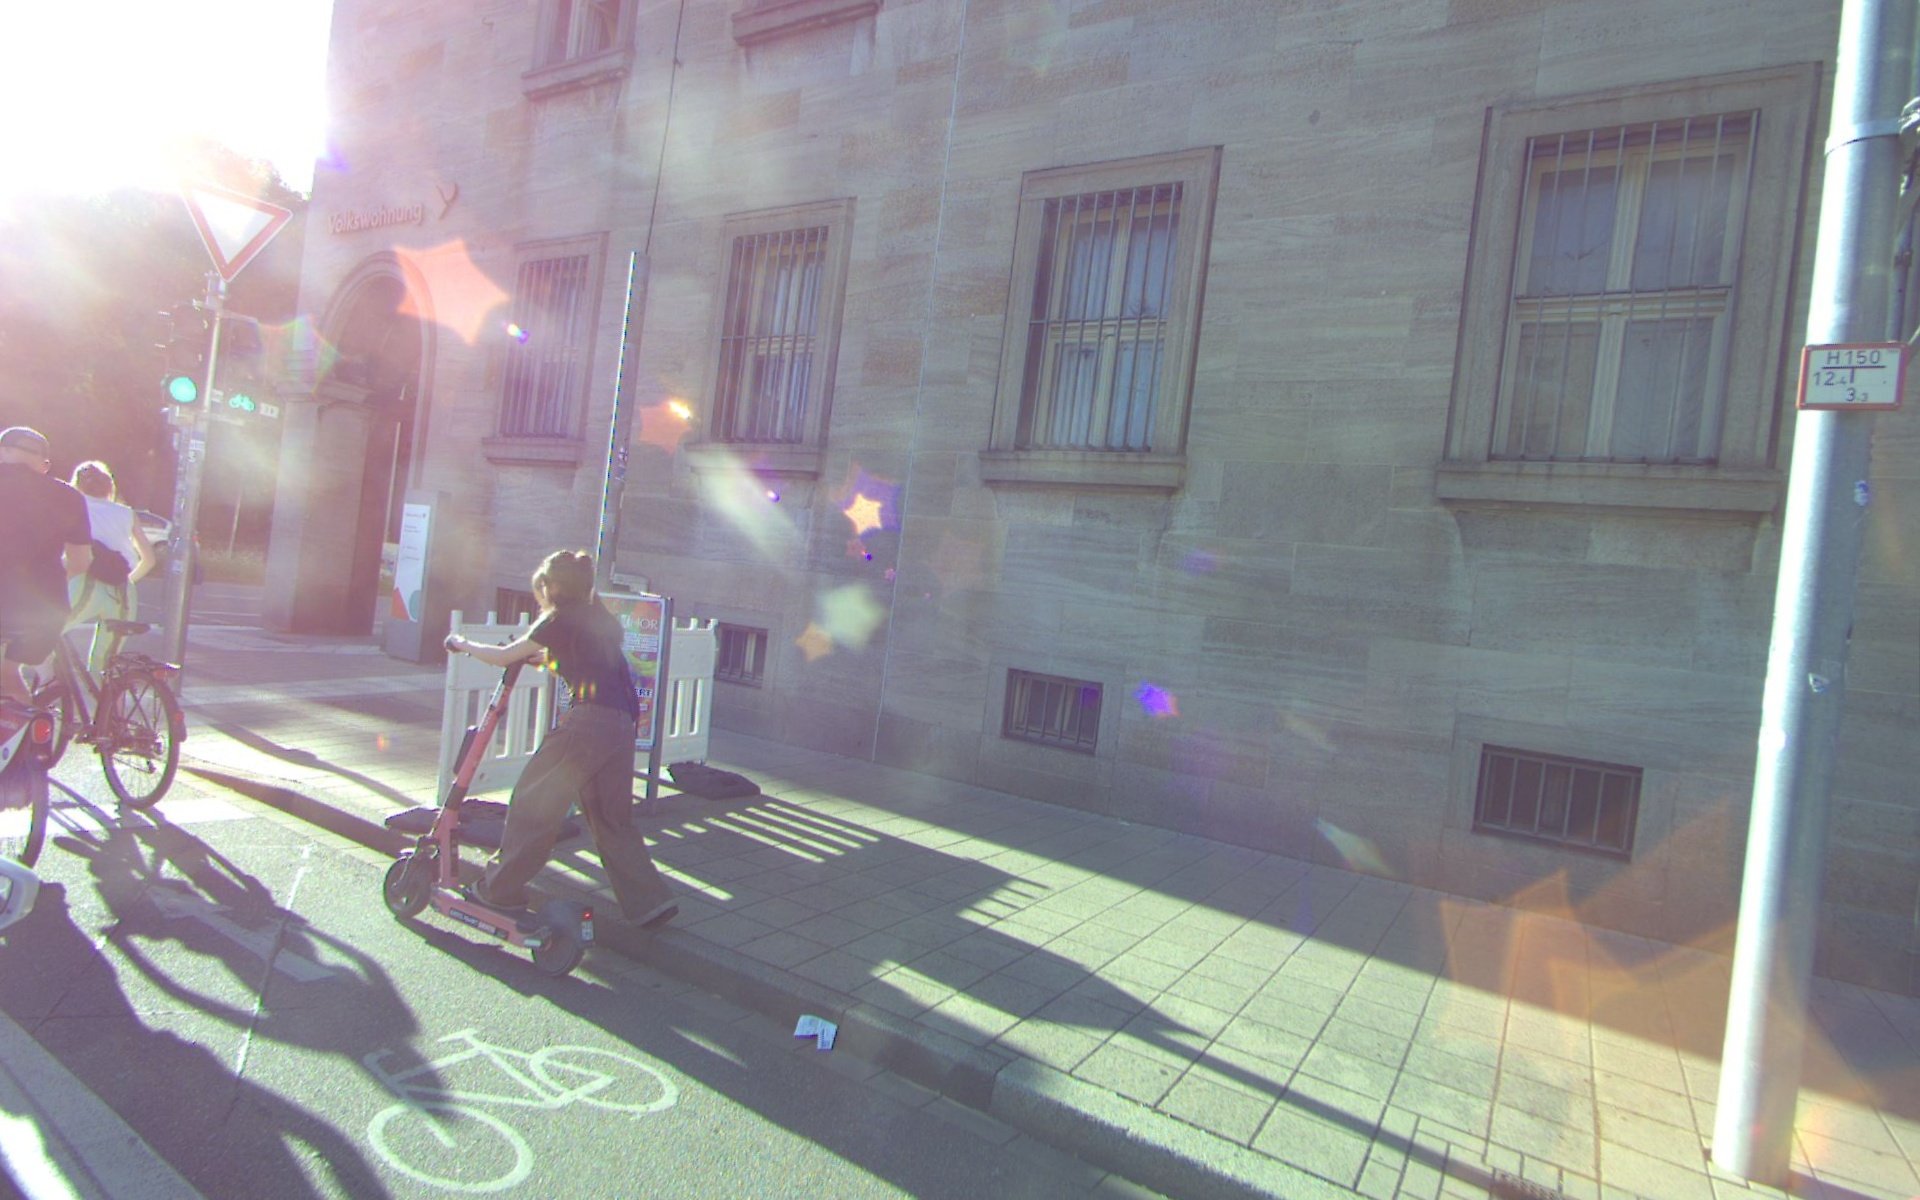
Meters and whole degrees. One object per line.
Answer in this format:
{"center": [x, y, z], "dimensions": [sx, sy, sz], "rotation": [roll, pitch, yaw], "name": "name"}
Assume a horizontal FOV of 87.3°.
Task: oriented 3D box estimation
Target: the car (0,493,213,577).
{"center": [-23.486, -1.747, 27.349], "dimensions": [1.967, 1.533, 4.586], "rotation": [6, -2, 32], "name": "car"}

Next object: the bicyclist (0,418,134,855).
{"center": [-4.156, 0.117, 4.258], "dimensions": [0.897, 1.736, 0.624], "rotation": [7, 0, 31], "name": "bicyclist"}

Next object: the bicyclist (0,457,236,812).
{"center": [-4.672, 0.167, 5.546], "dimensions": [0.933, 1.760, 0.585], "rotation": [7, 0, 26], "name": "bicyclist"}

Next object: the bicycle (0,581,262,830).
{"center": [-4.695, 0.520, 5.527], "dimensions": [1.716, 1.057, 0.583], "rotation": [7, 0, 27], "name": "bicycle"}

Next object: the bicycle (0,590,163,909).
{"center": [-4.185, 0.543, 4.257], "dimensions": [1.717, 1.057, 0.624], "rotation": [7, 0, 31], "name": "bicycle"}

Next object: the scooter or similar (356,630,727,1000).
{"center": [-1.686, 0.783, 4.056], "dimensions": [1.249, 1.163, 0.574], "rotation": [7, 0, 24], "name": "scooter or similar"}

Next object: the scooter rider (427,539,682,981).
{"center": [-1.606, 0.601, 4.041], "dimensions": [0.566, 1.581, 0.547], "rotation": [7, 0, 17], "name": "scooter rider"}

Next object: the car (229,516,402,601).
{"center": [-20.285, -1.257, 31.804], "dimensions": [1.968, 2.037, 3.994], "rotation": [6, -2, 33], "name": "car"}
